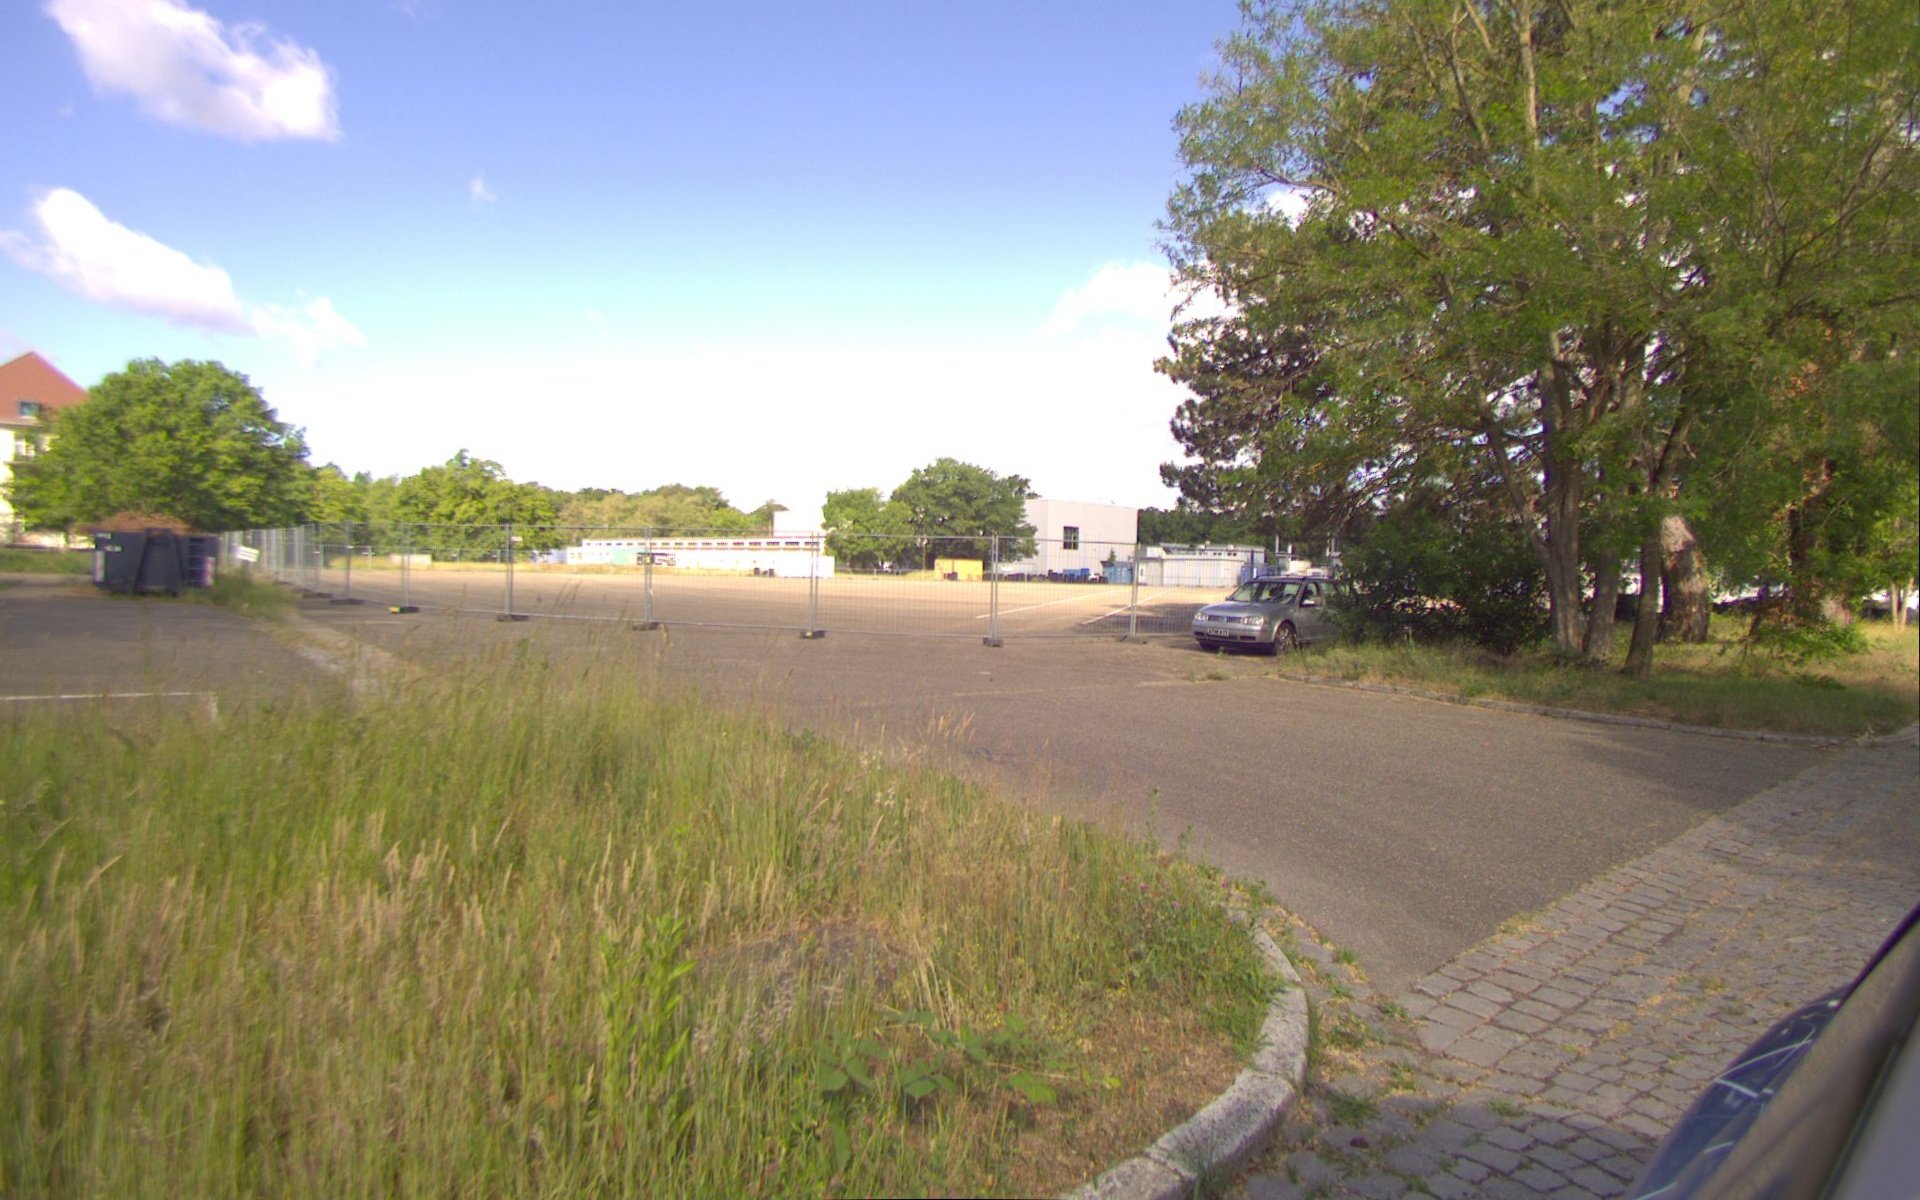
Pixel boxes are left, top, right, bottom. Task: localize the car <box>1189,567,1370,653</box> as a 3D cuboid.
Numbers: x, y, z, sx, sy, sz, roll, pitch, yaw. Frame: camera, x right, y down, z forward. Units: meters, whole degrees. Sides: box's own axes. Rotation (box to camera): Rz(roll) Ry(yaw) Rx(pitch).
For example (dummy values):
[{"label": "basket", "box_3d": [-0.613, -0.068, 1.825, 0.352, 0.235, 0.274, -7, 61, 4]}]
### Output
[{"label": "car", "box_3d": [6.196, 0.145, 19.405, 3.920, 1.461, 1.576, 0, 3, -44]}]
